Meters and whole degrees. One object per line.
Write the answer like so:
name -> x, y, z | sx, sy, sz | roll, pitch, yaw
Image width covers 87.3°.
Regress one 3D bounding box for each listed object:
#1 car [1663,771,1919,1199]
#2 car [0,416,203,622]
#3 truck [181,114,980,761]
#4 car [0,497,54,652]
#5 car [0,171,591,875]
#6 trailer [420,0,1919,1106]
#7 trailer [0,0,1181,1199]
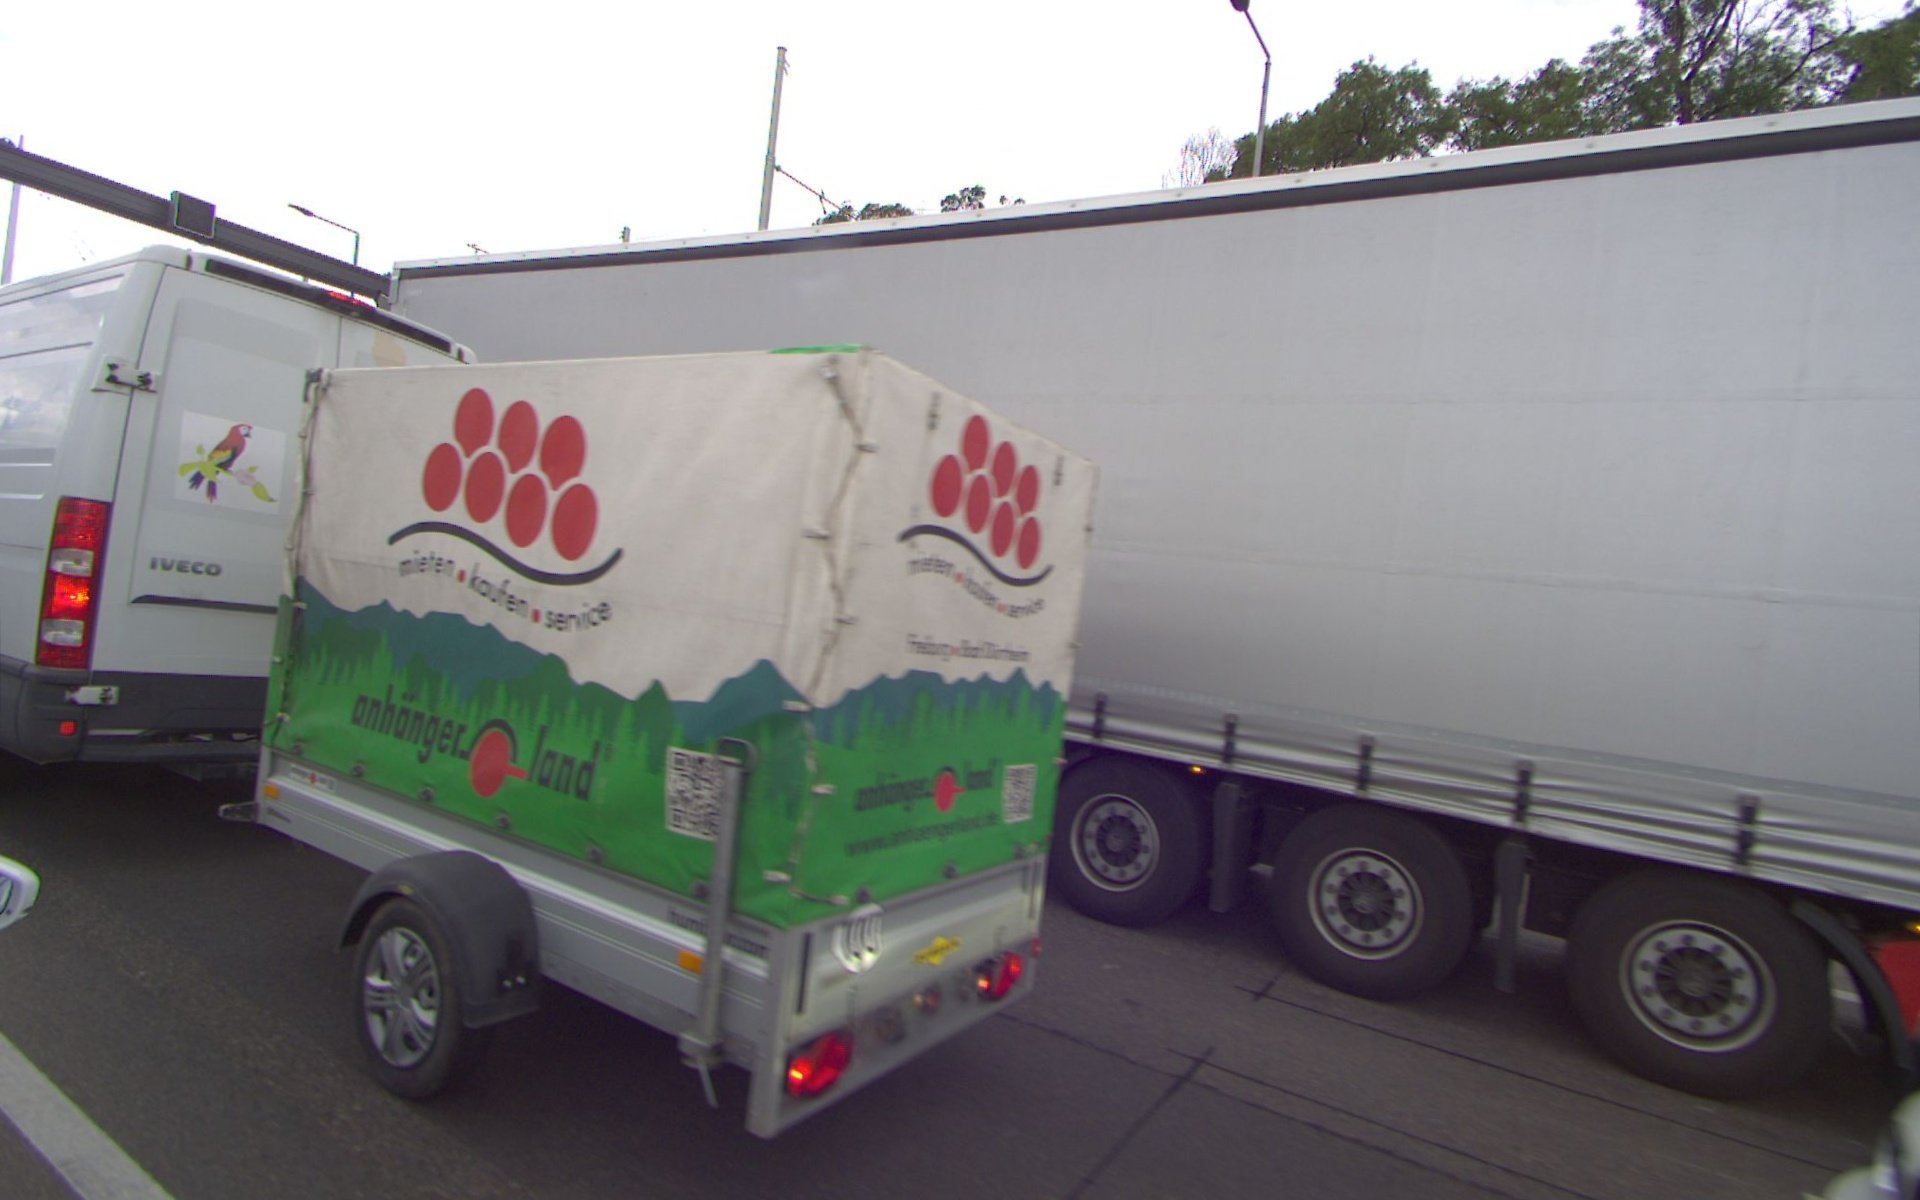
car -> 3.373, 1.302, 0.917 | 4.275, 1.414, 1.720 | 7, -2, 31
car -> -15.843, -1.496, 17.053 | 7.203, 2.806, 2.079 | 7, 0, 31
truck -> -4.149, -1.326, 10.750 | 7.318, 4.684, 3.813 | 7, -2, 31
car -> -10.743, -0.444, 9.753 | 3.972, 1.400, 1.766 | 6, -1, 31
car -> -5.210, -0.405, 6.175 | 5.845, 2.655, 2.064 | 6, -4, 32
trailer -> 1.688, -0.647, 7.161 | 11.912, 4.684, 3.813 | 7, -2, 31
trailer -> -1.870, -0.047, 4.051 | 4.731, 2.670, 2.106 | 6, -1, 32
